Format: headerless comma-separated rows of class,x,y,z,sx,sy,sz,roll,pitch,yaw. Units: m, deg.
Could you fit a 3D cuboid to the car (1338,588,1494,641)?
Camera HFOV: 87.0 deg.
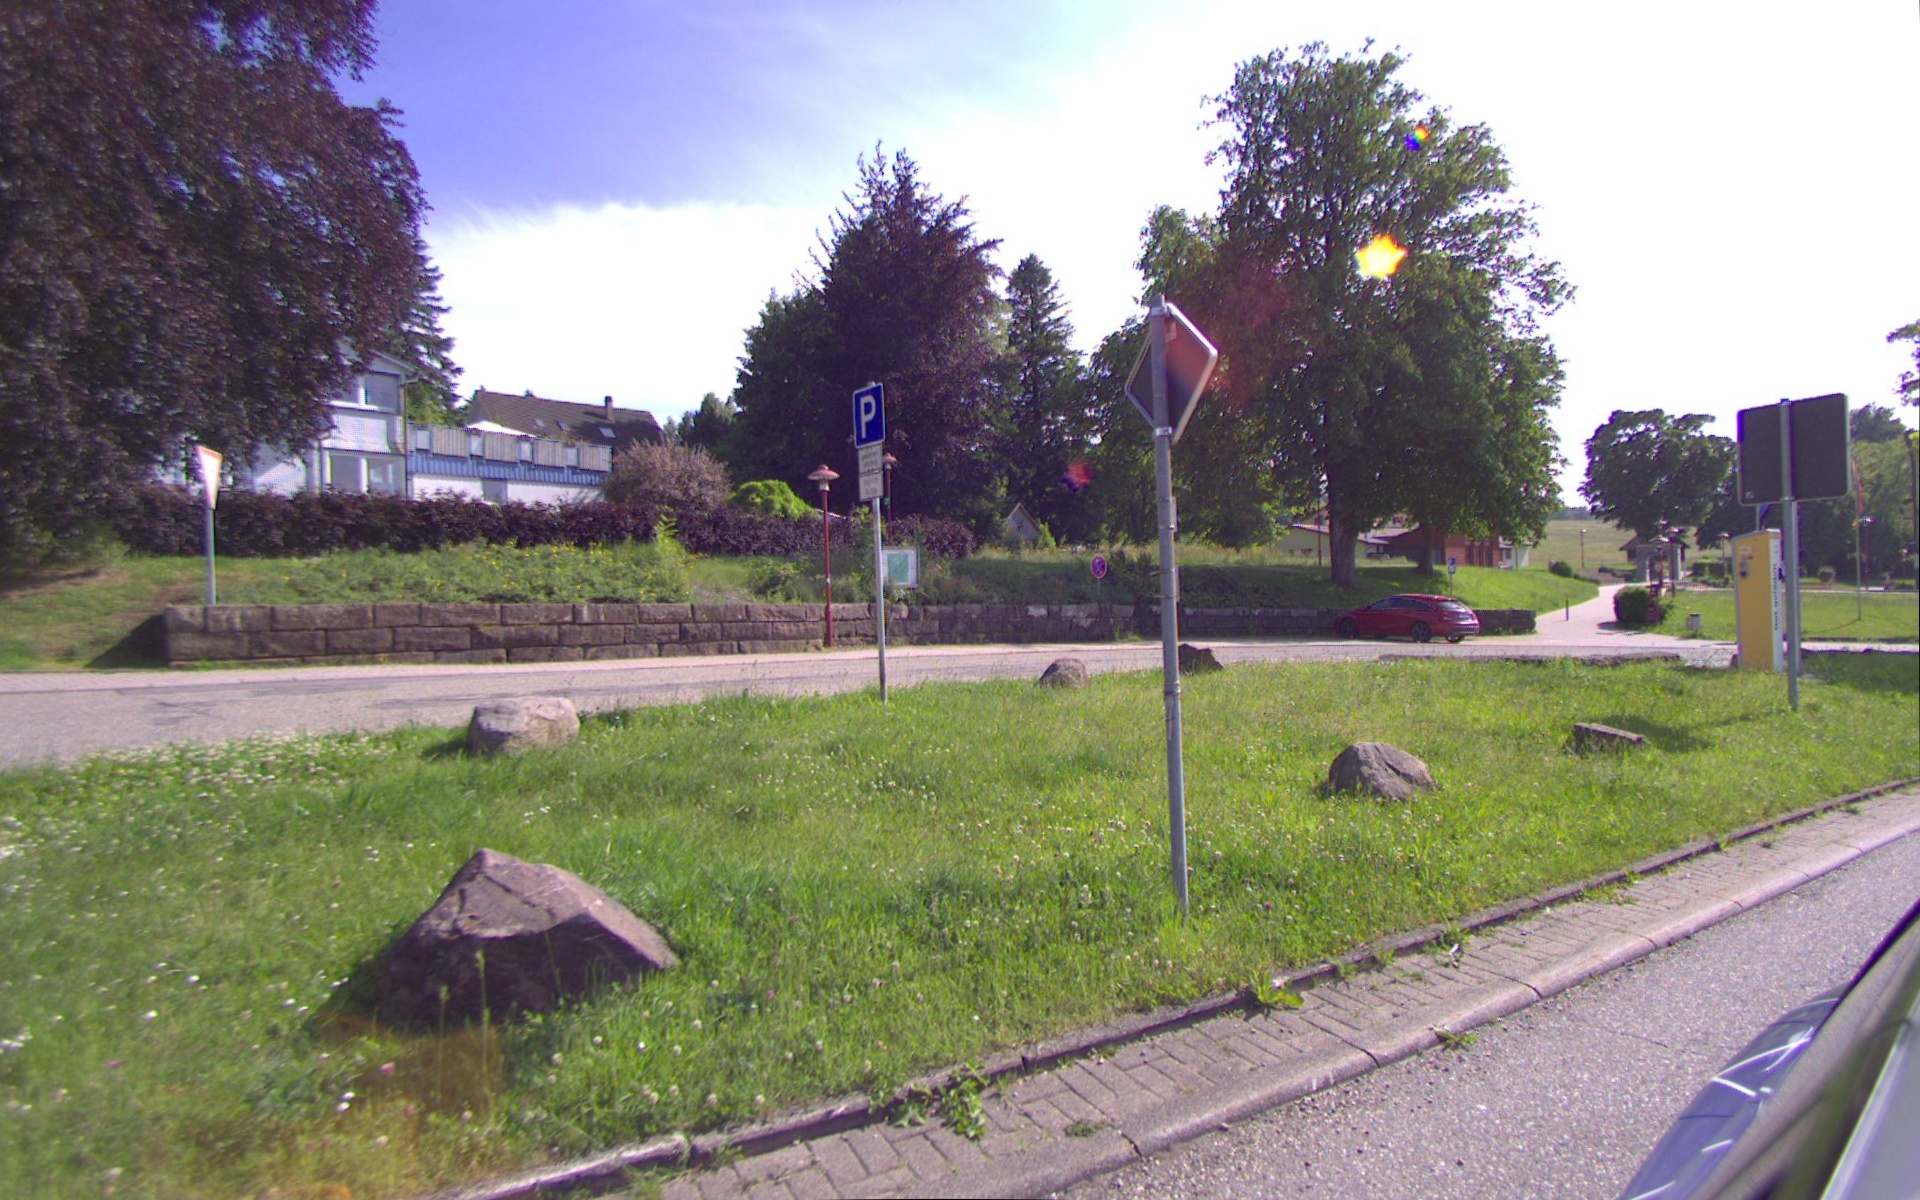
car,13.967,0.395,31.275,1.667,1.446,4.273,0,1,-27
